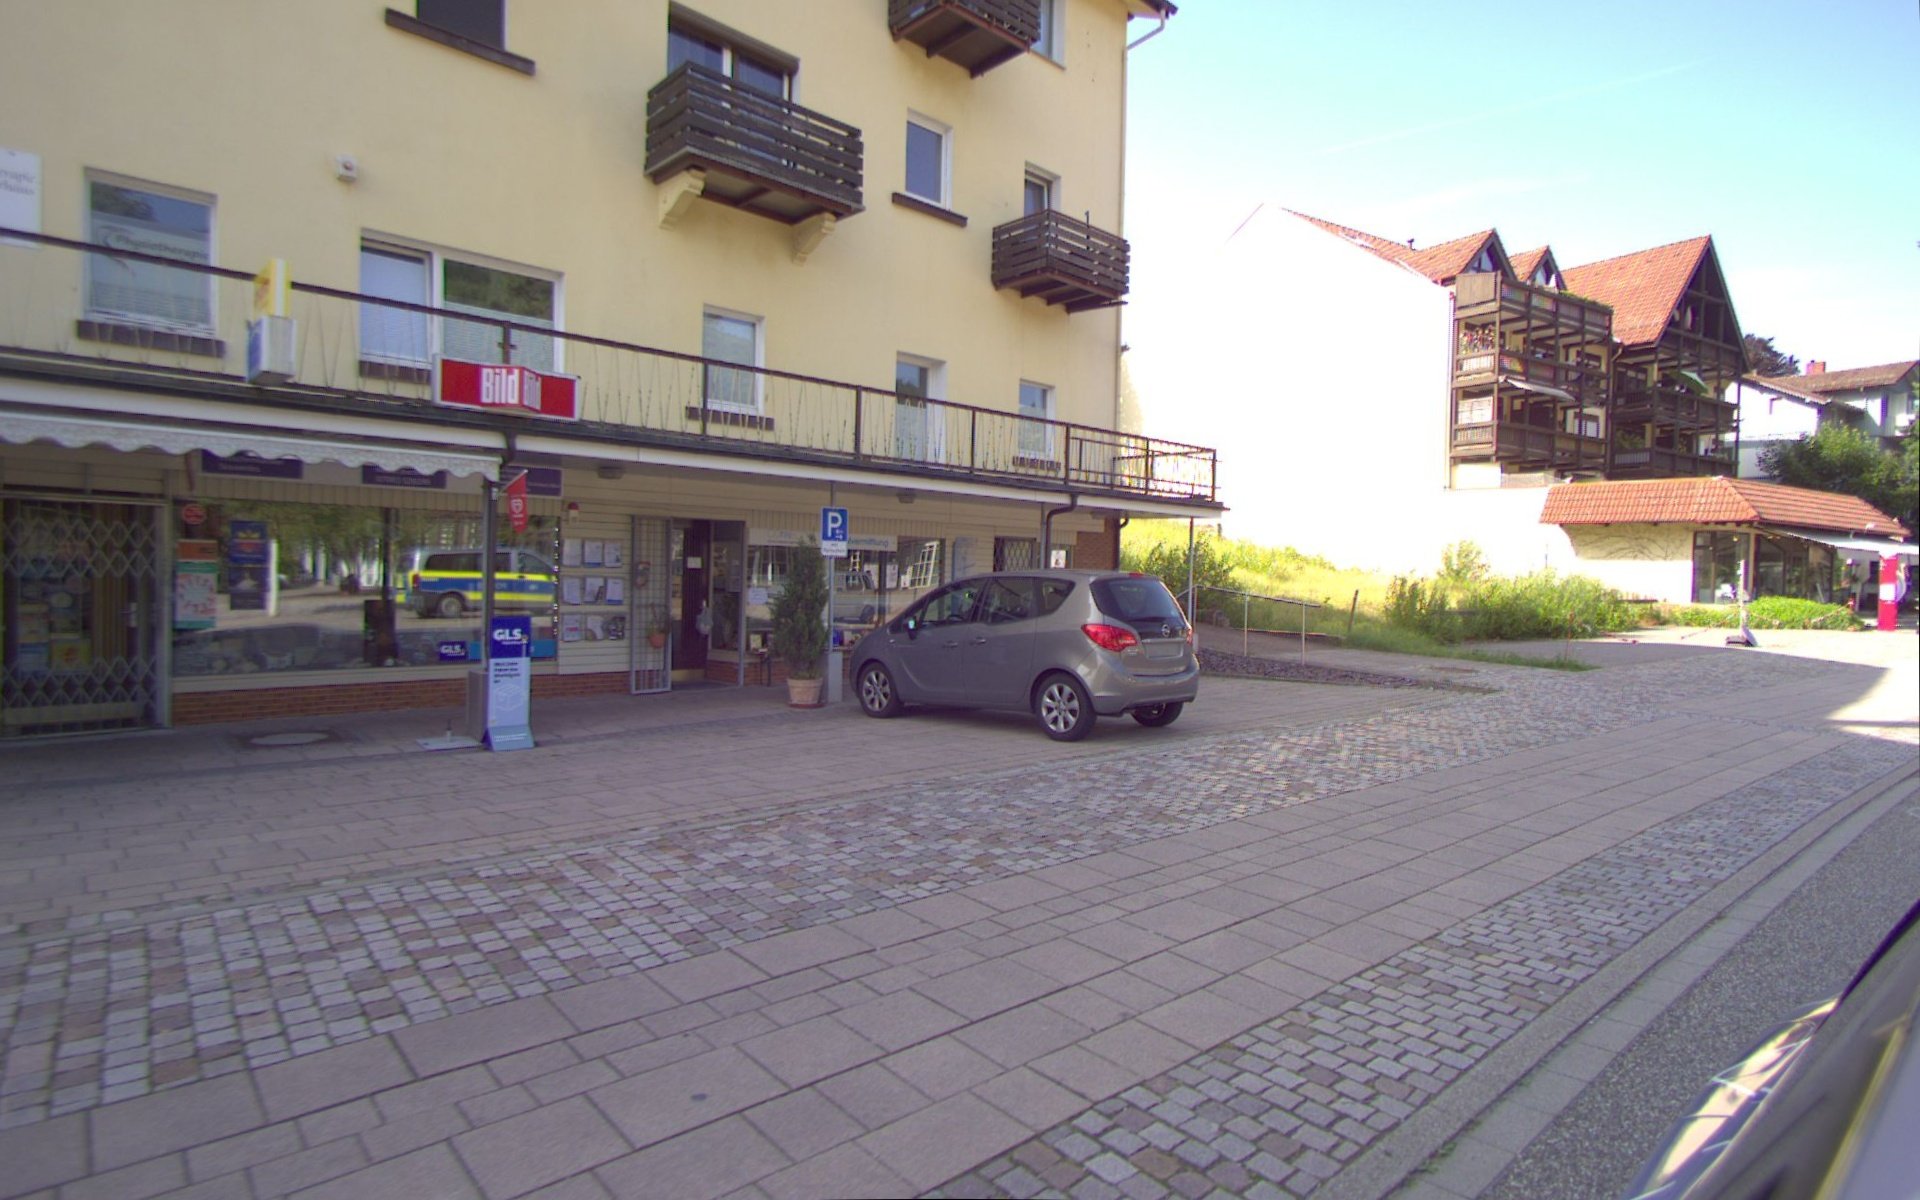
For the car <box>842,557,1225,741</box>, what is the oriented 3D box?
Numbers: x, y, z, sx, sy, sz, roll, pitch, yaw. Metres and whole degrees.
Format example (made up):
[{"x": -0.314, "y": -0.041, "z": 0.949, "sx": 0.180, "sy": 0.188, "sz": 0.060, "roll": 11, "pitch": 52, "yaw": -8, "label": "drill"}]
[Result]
[{"x": 0.622, "y": 0.430, "z": 10.643, "sx": 1.731, "sy": 1.574, "sz": 3.862, "roll": 0, "pitch": -1, "yaw": -44, "label": "car"}]
